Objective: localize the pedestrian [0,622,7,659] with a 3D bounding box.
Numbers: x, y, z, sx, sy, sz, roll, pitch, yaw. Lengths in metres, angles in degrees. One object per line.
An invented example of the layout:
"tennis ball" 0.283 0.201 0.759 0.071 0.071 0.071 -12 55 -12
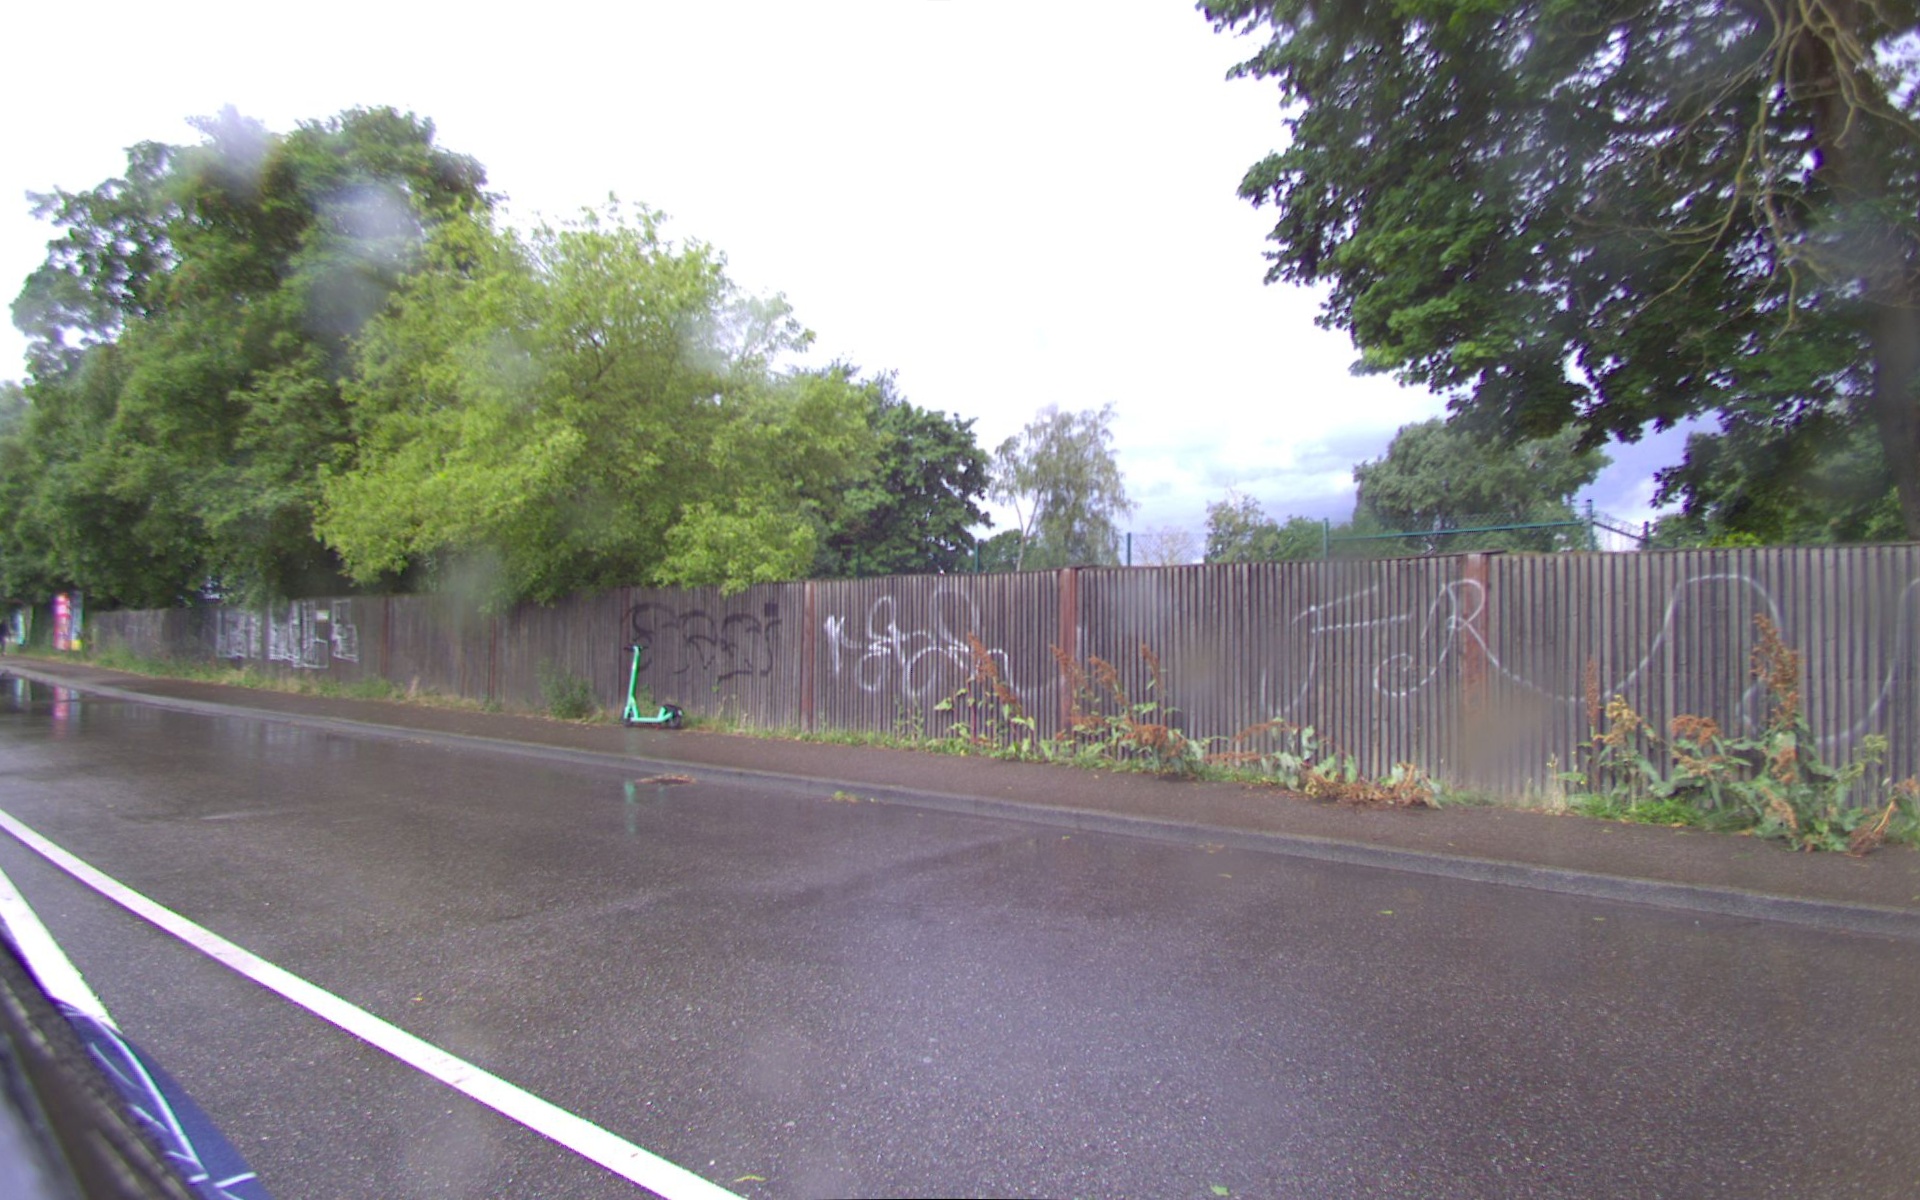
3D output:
"pedestrian" -47.624 1.996 49.870 0.644 1.783 0.830 -2 -3 41

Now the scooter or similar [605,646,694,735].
"scooter or similar" -4.344 1.244 14.156 1.205 1.171 0.557 -1 -2 34
